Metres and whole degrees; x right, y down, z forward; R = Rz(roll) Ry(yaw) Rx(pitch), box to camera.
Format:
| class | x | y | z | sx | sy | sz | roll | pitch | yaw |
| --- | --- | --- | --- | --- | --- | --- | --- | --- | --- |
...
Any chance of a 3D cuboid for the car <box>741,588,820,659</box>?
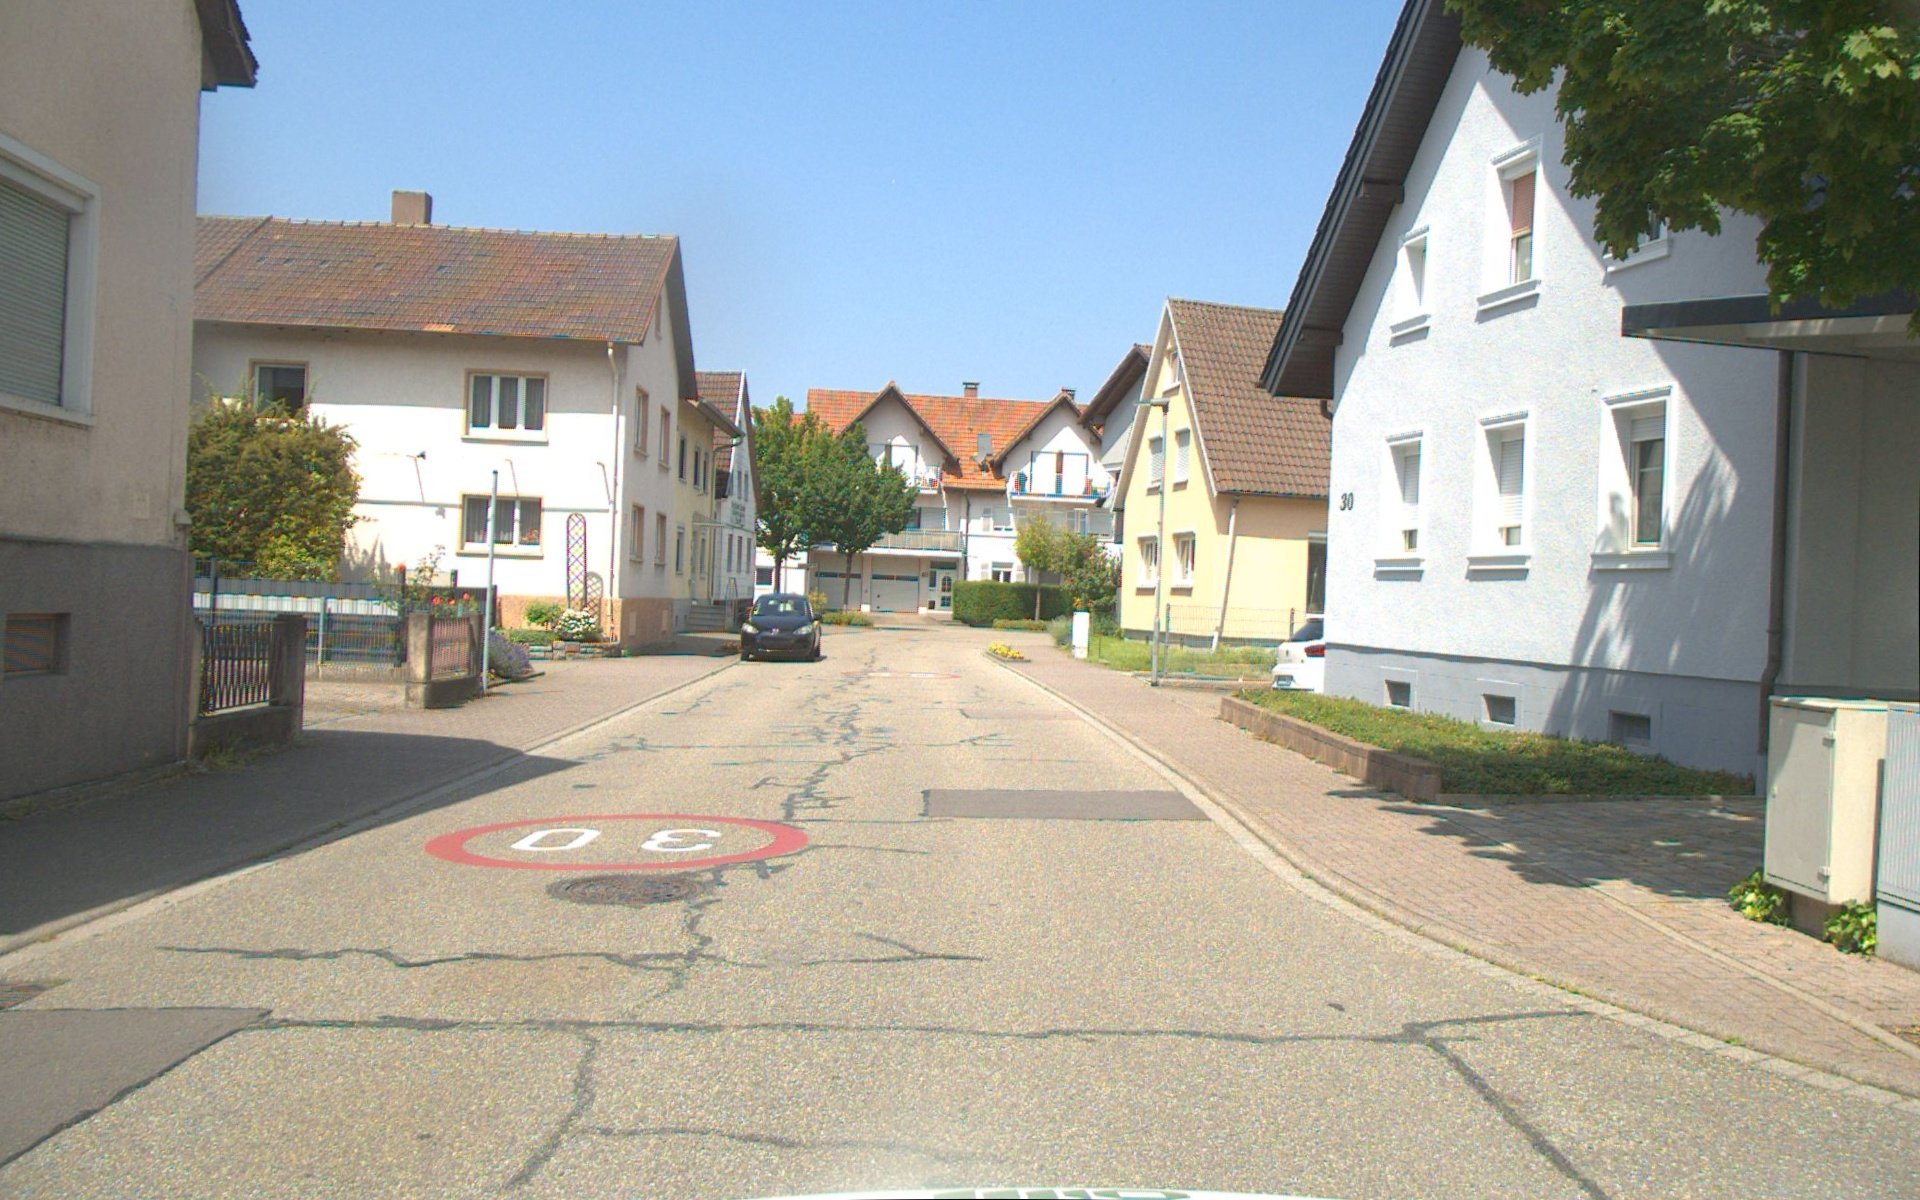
| class | x | y | z | sx | sy | sz | roll | pitch | yaw |
| --- | --- | --- | --- | --- | --- | --- | --- | --- | --- |
| car | -4.060 | 0.506 | 37.866 | 1.594 | 1.512 | 3.997 | 1 | 0 | -3 |

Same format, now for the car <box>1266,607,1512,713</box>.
| class | x | y | z | sx | sy | sz | roll | pitch | yaw |
| --- | --- | --- | --- | --- | --- | --- | --- | --- | --- |
| car | 5.929 | 0.825 | 22.986 | 2.987 | 1.369 | 1.419 | 1 | -1 | -9 |
